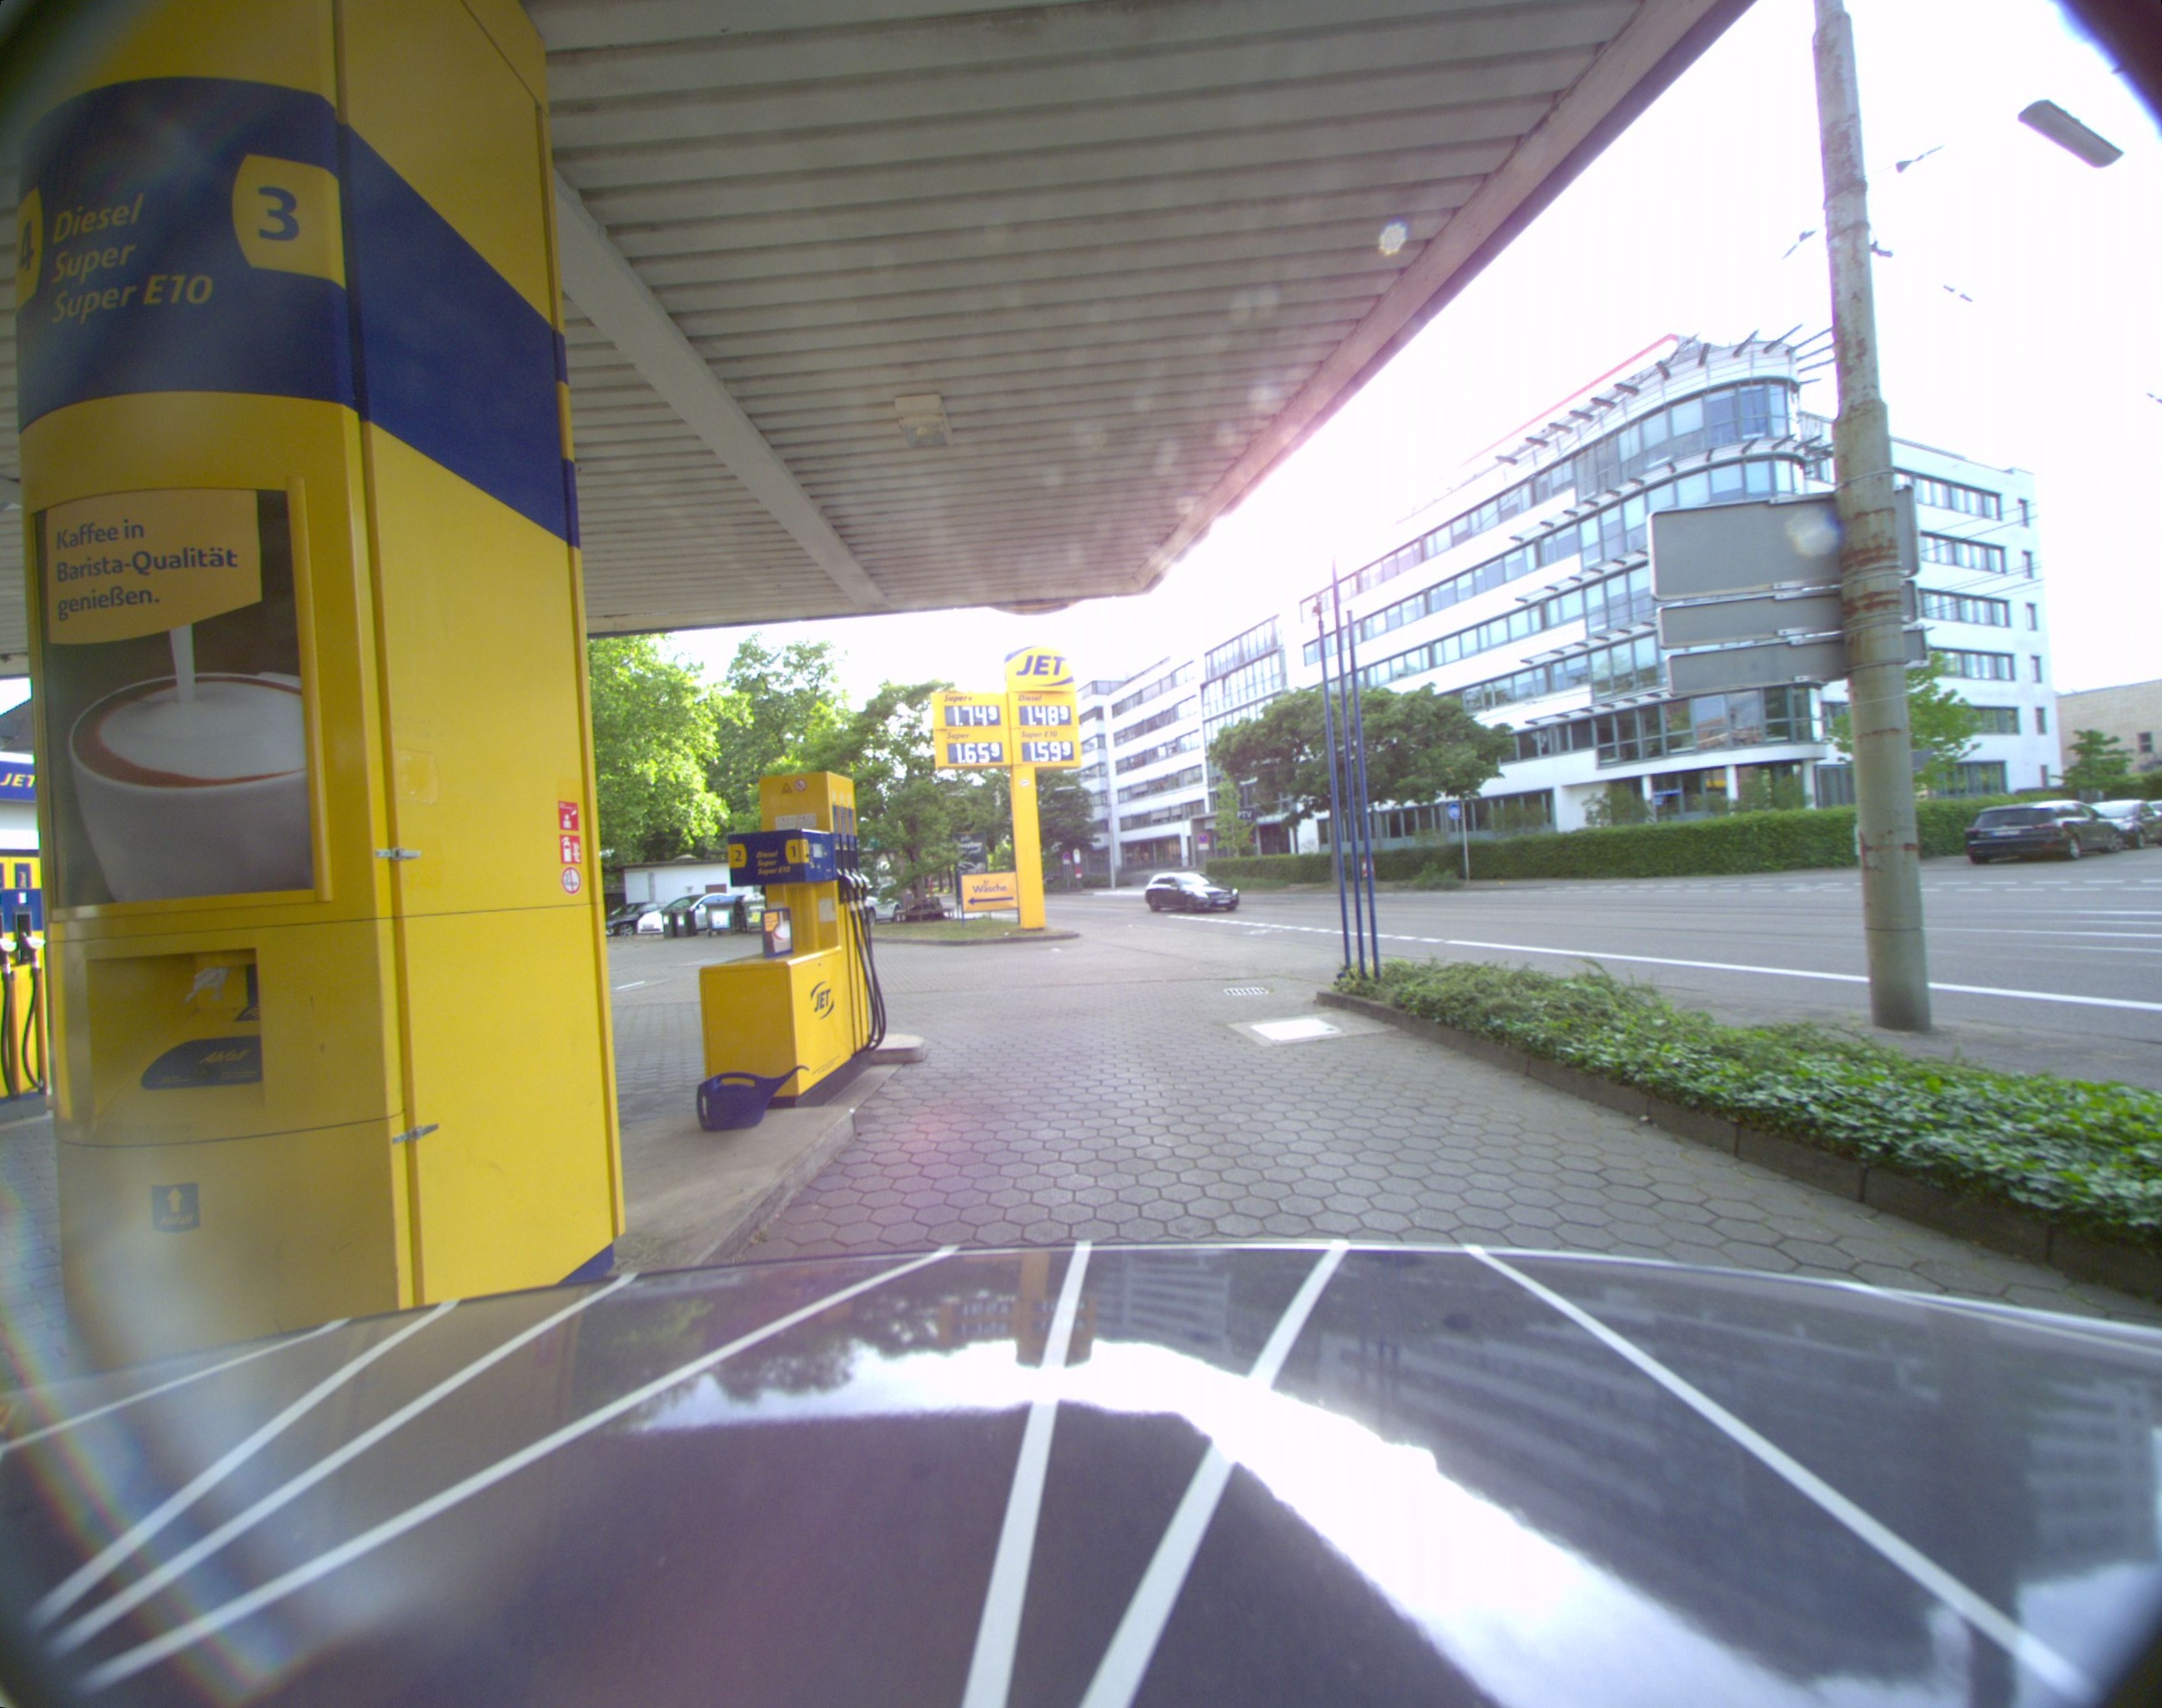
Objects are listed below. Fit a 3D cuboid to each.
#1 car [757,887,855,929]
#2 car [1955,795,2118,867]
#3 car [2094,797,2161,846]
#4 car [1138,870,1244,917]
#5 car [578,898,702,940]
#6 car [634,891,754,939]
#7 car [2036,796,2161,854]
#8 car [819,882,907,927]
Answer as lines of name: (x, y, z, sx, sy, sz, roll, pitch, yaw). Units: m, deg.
car: (-11.650, 2.270, 32.485, 1.771, 1.591, 4.400, -4, -4, 13)
car: (27.280, -0.657, 21.687, 4.296, 1.681, 2.010, -4, -1, -27)
car: (37.133, -1.187, 26.143, 4.296, 1.509, 1.945, -4, -1, -27)
car: (3.941, 1.417, 28.083, 1.756, 1.460, 4.563, -4, -1, -21)
car: (-17.790, 2.592, 30.900, 1.771, 1.367, 4.398, -2, -1, 14)
car: (-15.288, 2.367, 30.306, 1.771, 1.591, 4.398, -2, -1, 14)
car: (32.551, -0.933, 24.090, 4.296, 1.530, 1.945, -4, -1, -27)
car: (-8.632, 2.005, 30.495, 1.772, 1.591, 4.398, -4, -4, 6)
